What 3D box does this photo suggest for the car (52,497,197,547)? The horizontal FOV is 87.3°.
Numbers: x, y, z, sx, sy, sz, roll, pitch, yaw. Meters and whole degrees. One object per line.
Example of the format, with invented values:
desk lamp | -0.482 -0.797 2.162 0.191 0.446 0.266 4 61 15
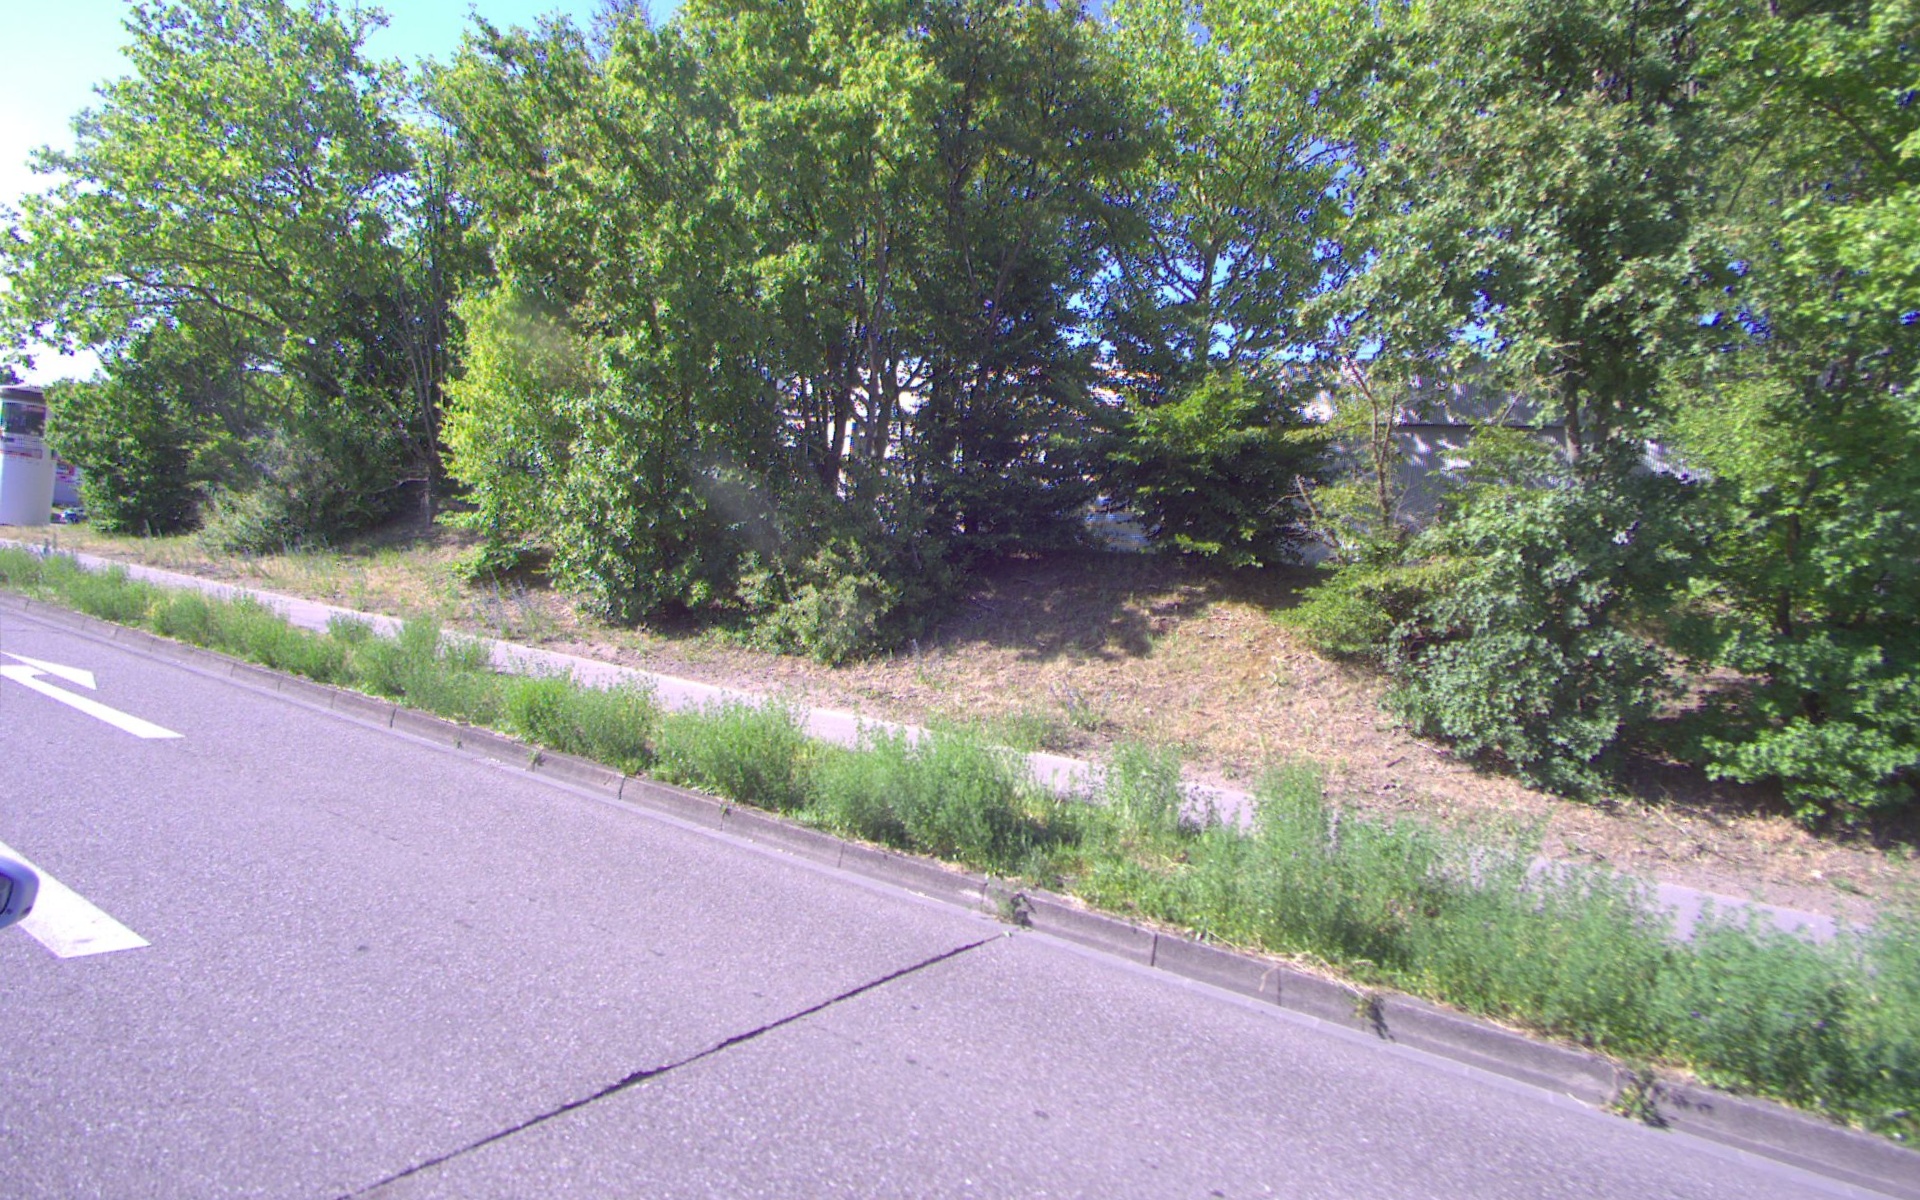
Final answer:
car | -39.022 -3.619 47.104 1.729 1.484 4.830 6 -2 30
